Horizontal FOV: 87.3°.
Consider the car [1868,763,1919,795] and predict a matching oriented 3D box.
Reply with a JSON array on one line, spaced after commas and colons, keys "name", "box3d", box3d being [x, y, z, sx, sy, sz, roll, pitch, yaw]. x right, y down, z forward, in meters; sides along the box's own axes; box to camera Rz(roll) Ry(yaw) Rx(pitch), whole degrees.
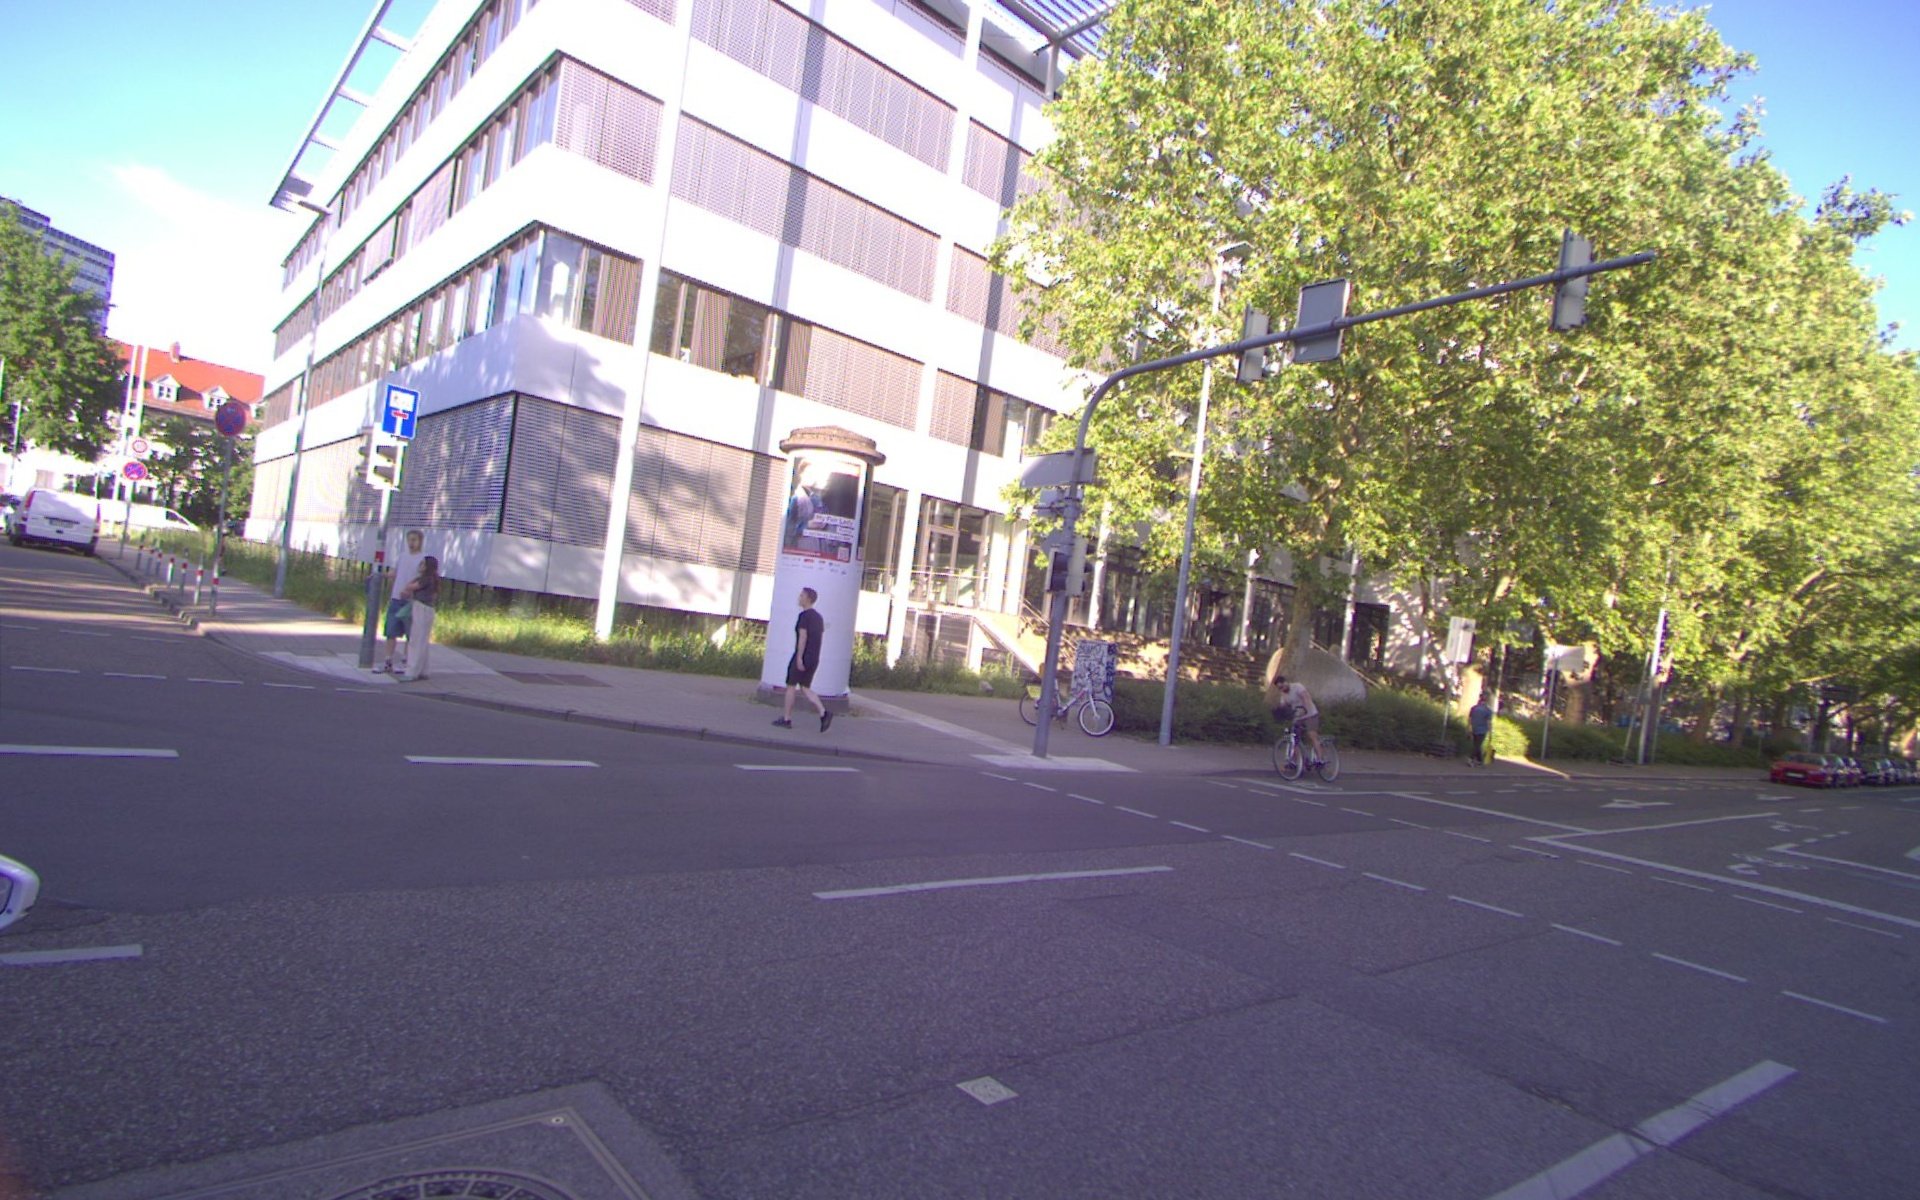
[{"name": "car", "box3d": [58.137, 11.138, 62.658, 3.975, 1.563, 1.869, 10, -3, -41]}]

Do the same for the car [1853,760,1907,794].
[{"name": "car", "box3d": [54.317, 10.448, 59.365, 3.975, 1.563, 1.869, 10, -3, -41]}]

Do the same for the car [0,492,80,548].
[{"name": "car", "box3d": [-33.763, -2.947, 36.852, 1.885, 1.573, 4.358, 10, -2, -45]}]

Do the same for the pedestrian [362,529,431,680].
[{"name": "pedestrian", "box3d": [-7.310, 0.049, 13.077, 0.553, 1.875, 0.674, 5, 2, -19]}]

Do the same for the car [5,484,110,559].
[{"name": "car", "box3d": [-27.944, -2.460, 31.102, 2.081, 1.816, 4.358, 10, -2, -45]}]

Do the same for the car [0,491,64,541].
[{"name": "car", "box3d": [-37.737, -3.423, 40.515, 4.353, 1.573, 1.887, 8, -1, 42]}]

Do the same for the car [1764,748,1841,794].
[{"name": "car", "box3d": [36.079, 7.326, 43.047, 3.975, 1.563, 1.869, 10, -3, -41]}]

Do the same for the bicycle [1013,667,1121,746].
[{"name": "bicycle", "box3d": [1.870, 1.841, 17.580, 1.656, 1.062, 0.508, 9, 2, 20]}]

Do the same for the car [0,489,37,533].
[{"name": "car", "box3d": [-43.420, -4.146, 45.247, 4.347, 1.675, 1.890, 8, -1, 37]}]

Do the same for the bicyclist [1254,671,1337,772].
[{"name": "bicyclist", "box3d": [5.554, 2.008, 16.656, 0.947, 1.506, 0.741, 8, -1, -36]}]

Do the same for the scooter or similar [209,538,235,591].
[{"name": "scooter or similar", "box3d": [-20.964, -1.014, 28.572, 0.329, 1.439, 1.320, 10, -3, -40]}]

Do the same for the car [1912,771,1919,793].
[{"name": "car", "box3d": [75.050, 14.197, 77.659, 3.975, 1.563, 1.869, 10, -3, -41]}]

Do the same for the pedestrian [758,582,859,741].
[{"name": "pedestrian", "box3d": [-1.935, 0.770, 12.819, 0.703, 1.860, 0.829, 10, -2, -35]}]

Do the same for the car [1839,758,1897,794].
[{"name": "car", "box3d": [50.655, 9.829, 56.102, 3.975, 1.563, 1.869, 10, -3, -41]}]

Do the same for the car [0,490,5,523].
[{"name": "car", "box3d": [-51.090, -5.057, 51.825, 4.347, 1.675, 1.890, 8, -1, 37]}]

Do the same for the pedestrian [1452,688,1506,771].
[{"name": "pedestrian", "box3d": [12.636, 3.146, 24.492, 0.832, 1.860, 0.701, 10, -2, -40]}]

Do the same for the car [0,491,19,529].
[{"name": "car", "box3d": [-47.092, -4.537, 48.318, 4.347, 1.675, 1.890, 8, -1, 37]}]

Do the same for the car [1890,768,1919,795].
[{"name": "car", "box3d": [67.258, 12.860, 71.061, 3.975, 1.563, 1.869, 10, -3, -41]}]

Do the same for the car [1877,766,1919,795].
[{"name": "car", "box3d": [63.294, 12.153, 67.698, 3.975, 1.563, 1.869, 10, -3, -41]}]

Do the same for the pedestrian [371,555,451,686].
[{"name": "pedestrian", "box3d": [-6.903, 0.254, 12.645, 0.666, 1.561, 0.559, 7, 2, 37]}]

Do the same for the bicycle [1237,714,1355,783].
[{"name": "bicycle", "box3d": [5.621, 2.484, 16.759, 2.101, 0.937, 0.724, 9, -2, -37]}]

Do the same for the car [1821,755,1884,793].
[{"name": "car", "box3d": [45.732, 8.919, 51.522, 3.975, 1.563, 1.869, 10, -3, -41]}]

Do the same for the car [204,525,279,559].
[{"name": "car", "box3d": [-46.834, -3.775, 65.595, 1.534, 1.564, 3.558, 7, -2, 36]}]

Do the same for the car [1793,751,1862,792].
[{"name": "car", "box3d": [41.340, 8.178, 47.909, 3.975, 1.563, 1.869, 10, -3, -41]}]

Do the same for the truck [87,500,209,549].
[{"name": "truck", "box3d": [-49.880, -4.615, 61.918, 1.969, 2.036, 5.343, 7, -2, 36]}]
